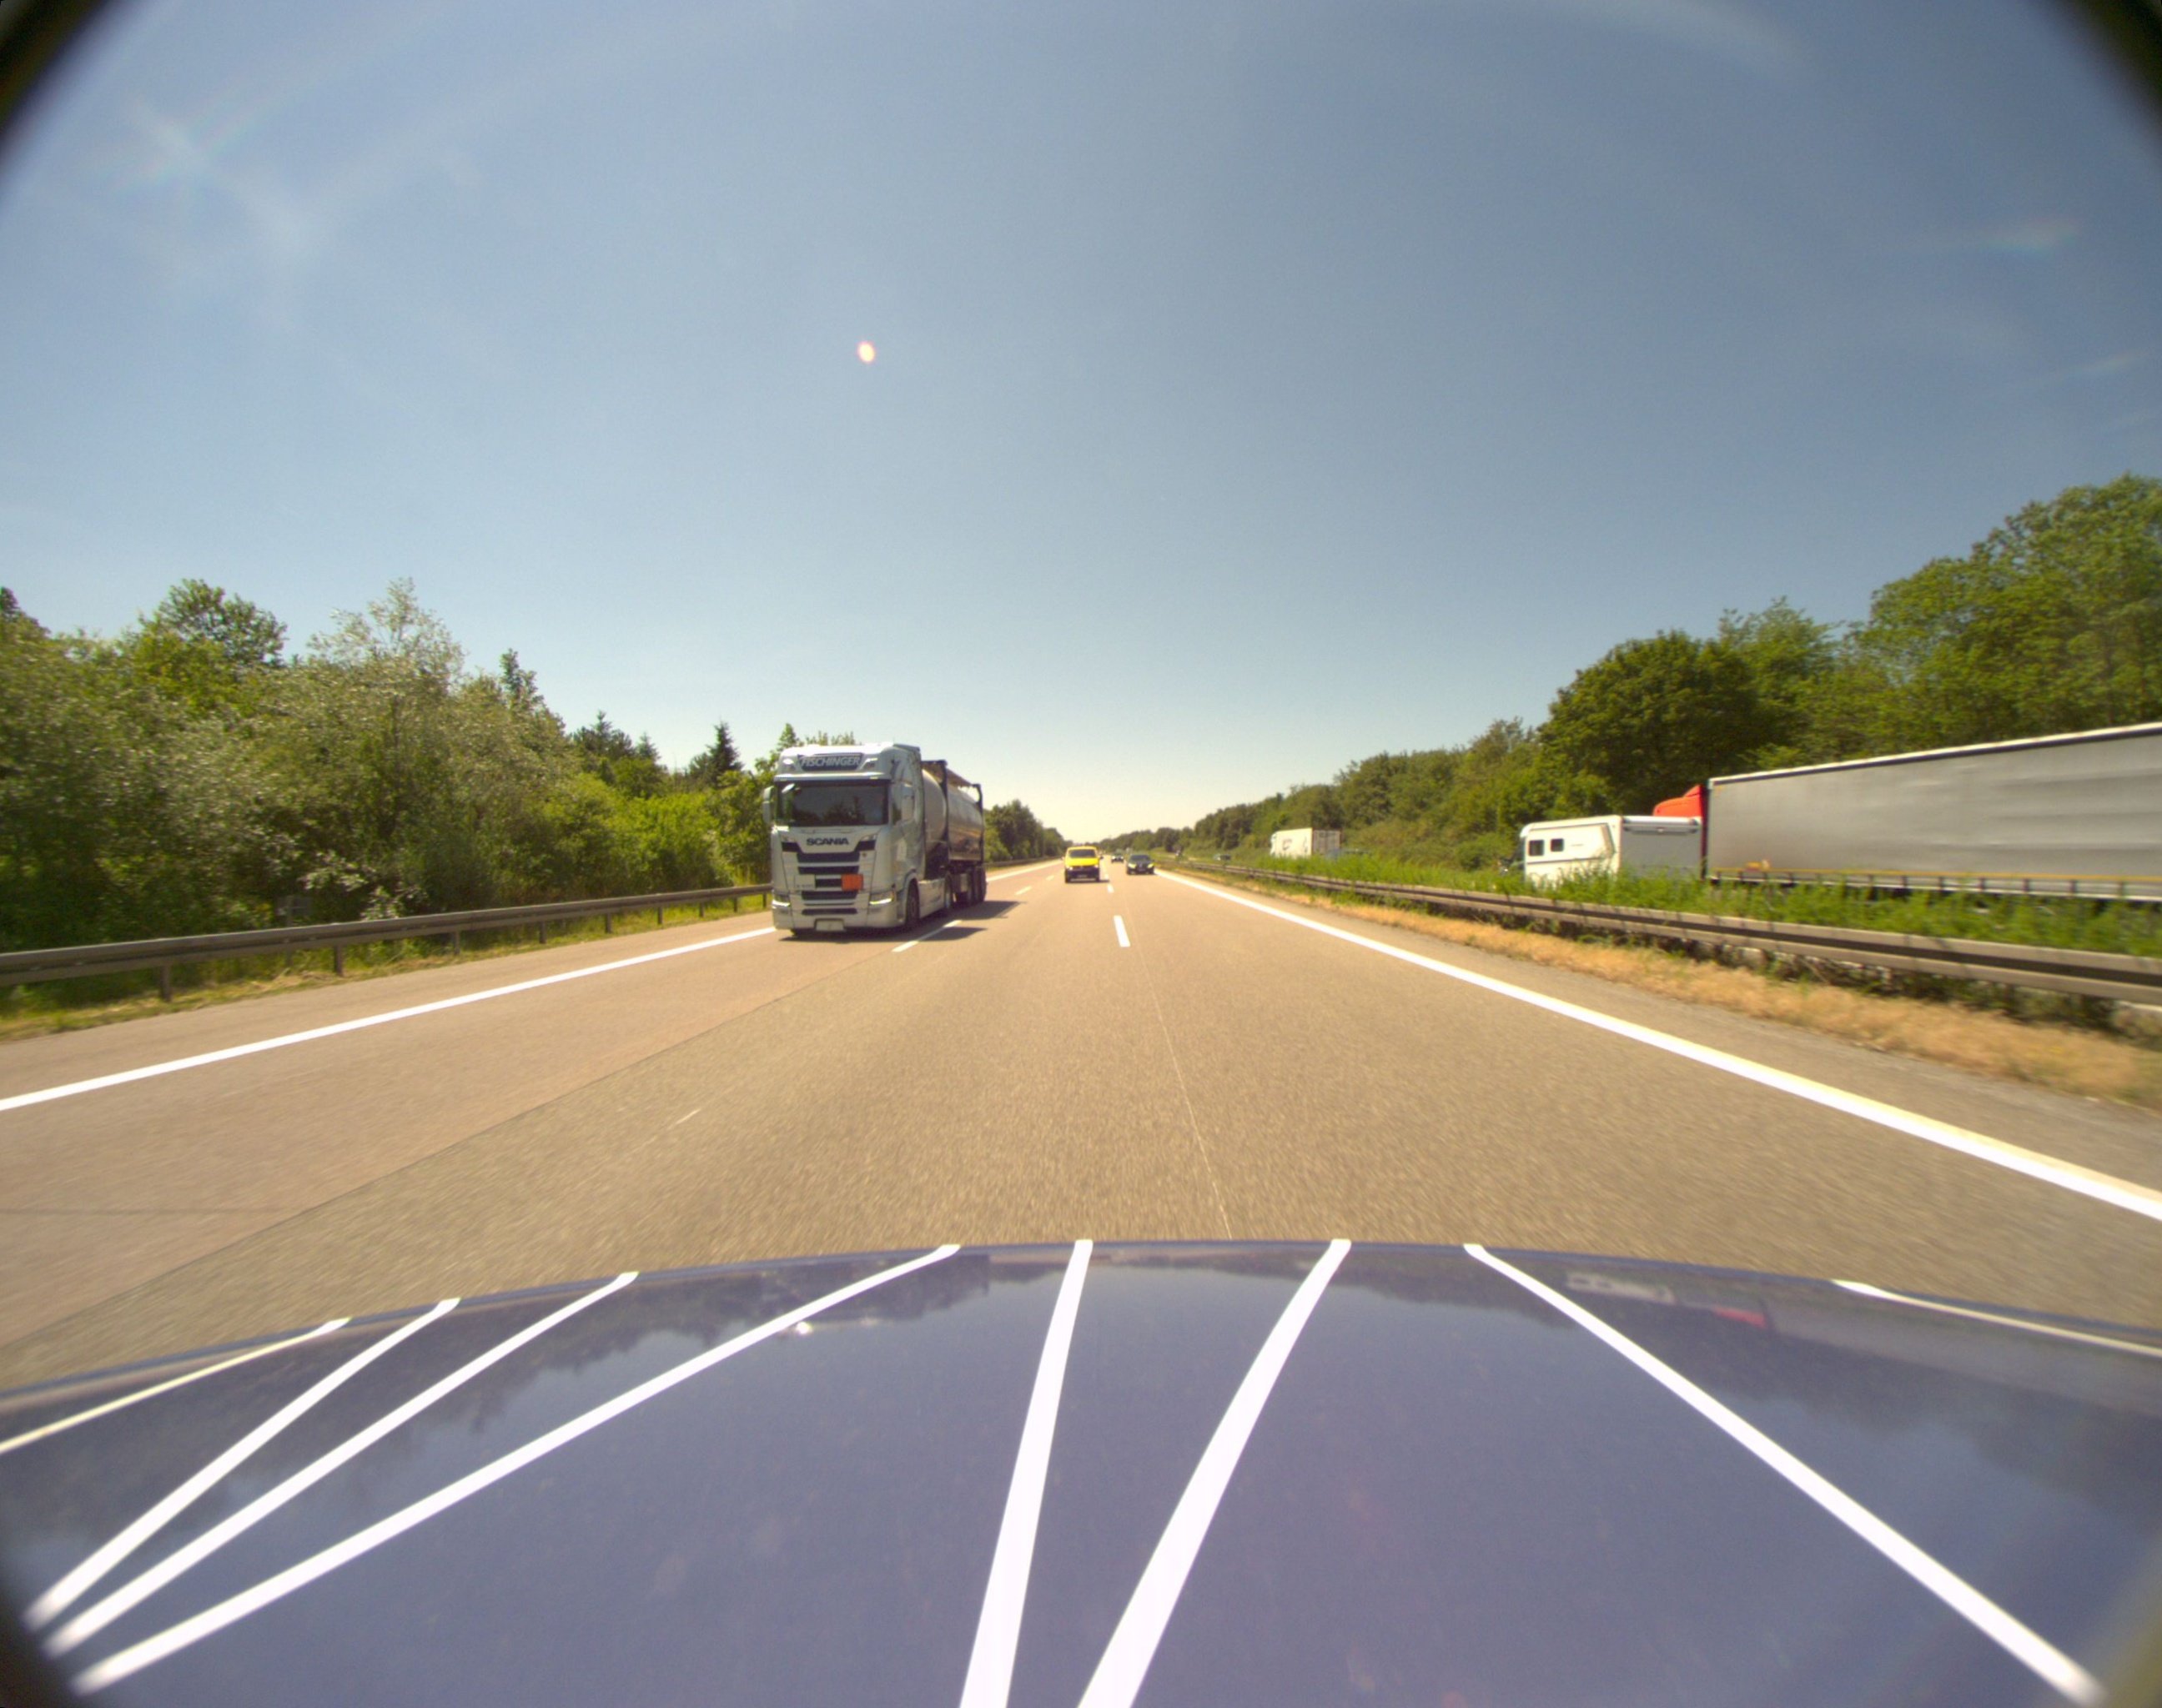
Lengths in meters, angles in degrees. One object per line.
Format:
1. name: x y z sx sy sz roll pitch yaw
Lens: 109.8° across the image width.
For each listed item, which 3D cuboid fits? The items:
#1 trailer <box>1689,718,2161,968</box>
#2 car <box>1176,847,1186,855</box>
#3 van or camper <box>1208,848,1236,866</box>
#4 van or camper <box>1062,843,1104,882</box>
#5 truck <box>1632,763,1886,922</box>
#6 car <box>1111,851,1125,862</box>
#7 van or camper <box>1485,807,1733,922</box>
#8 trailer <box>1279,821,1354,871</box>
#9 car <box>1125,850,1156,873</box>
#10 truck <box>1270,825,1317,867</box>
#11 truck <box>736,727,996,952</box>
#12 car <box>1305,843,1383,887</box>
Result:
1. trailer: 19.939 -0.270 15.954 3.152 4.224 14.479 -2 1 2
2. car: 24.947 -0.787 189.525 1.998 1.904 4.303 -1 1 1
3. van or camper: 14.217 0.323 76.831 1.998 1.740 5.058 -1 1 2
4. van or camper: 0.188 0.404 42.391 2.063 1.992 5.884 -1 0 2
5. truck: 20.235 -0.333 23.162 3.144 4.207 5.176 -2 1 2
6. car: 5.395 0.379 110.399 1.894 1.541 4.039 1 1 1
7. van or camper: 16.065 0.239 24.049 2.619 2.949 7.859 -2 1 3
8. trailer: 21.779 -0.731 71.381 3.183 4.166 12.987 -2 1 2
9. car: 4.183 0.507 53.649 1.894 1.541 4.039 1 1 1
10. truck: 21.971 -0.842 78.890 3.201 4.125 5.943 -2 1 1
11. truck: -4.694 -0.329 20.622 2.805 4.022 13.354 -2 1 1
12. car: 12.325 0.457 35.992 1.878 1.895 5.190 -2 1 1
